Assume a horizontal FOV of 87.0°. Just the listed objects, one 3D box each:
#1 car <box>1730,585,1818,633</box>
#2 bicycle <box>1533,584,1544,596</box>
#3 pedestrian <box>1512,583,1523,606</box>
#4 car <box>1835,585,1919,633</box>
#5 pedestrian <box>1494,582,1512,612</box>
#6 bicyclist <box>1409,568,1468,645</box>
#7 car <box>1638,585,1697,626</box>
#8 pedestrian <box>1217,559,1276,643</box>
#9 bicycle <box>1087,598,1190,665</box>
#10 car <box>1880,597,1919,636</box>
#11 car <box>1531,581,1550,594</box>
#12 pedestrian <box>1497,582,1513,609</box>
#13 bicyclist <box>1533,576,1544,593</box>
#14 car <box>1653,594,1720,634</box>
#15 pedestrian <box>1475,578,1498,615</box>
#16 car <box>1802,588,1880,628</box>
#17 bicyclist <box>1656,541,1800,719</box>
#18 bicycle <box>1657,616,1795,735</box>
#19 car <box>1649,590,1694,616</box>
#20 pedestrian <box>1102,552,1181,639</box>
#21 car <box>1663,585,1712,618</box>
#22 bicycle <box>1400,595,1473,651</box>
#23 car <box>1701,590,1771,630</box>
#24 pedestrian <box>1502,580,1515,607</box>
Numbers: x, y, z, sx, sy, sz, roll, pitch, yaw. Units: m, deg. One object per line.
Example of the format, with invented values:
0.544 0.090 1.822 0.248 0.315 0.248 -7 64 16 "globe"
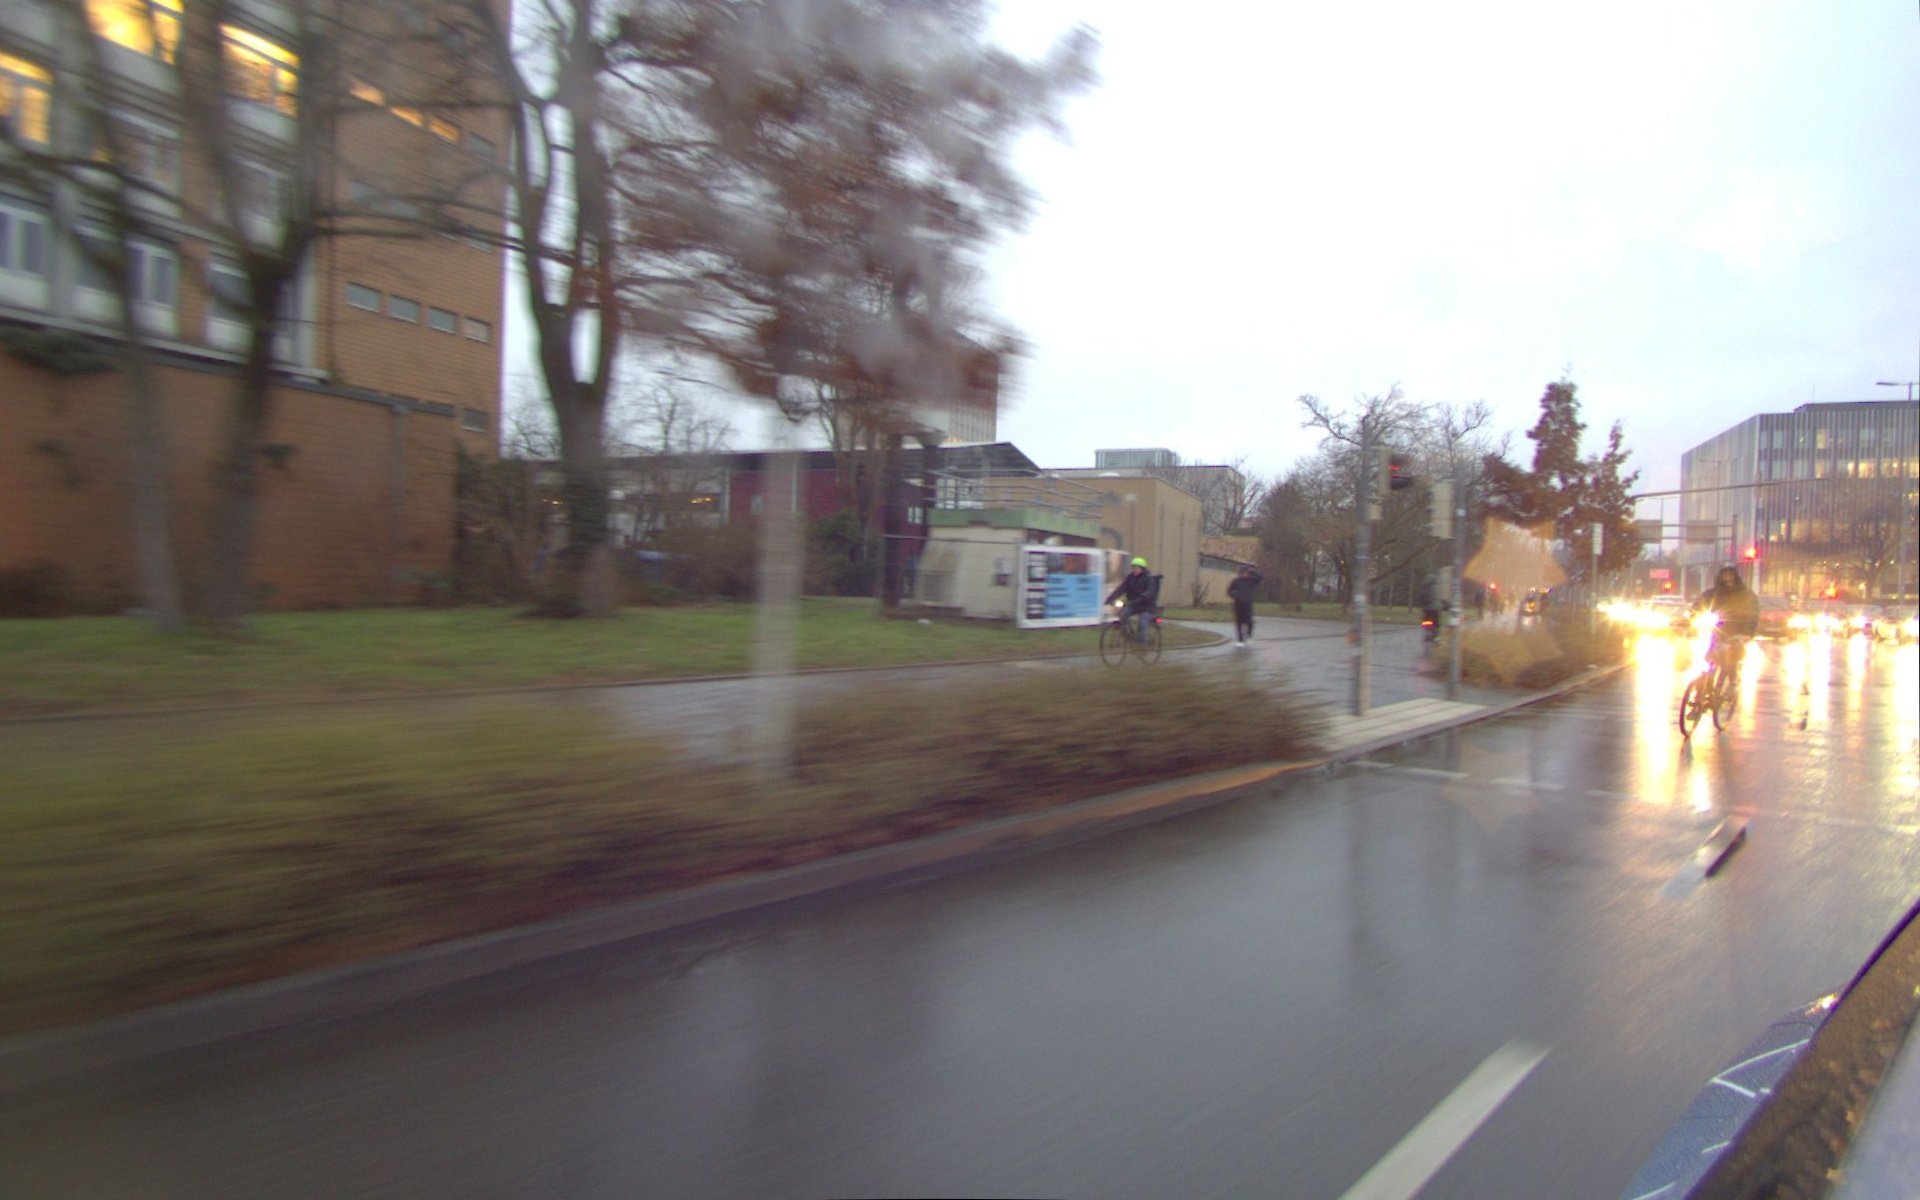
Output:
33.832 0.318 42.203 1.983 1.771 4.896 3 2 29 "car"
51.868 -0.878 90.759 0.788 1.028 2.873 2 1 29 "bicycle"
50.611 -0.514 91.870 0.759 2.038 0.765 2 2 28 "pedestrian"
41.468 0.362 45.604 1.985 1.769 4.425 10 6 28 "car"
34.440 -0.179 64.191 0.925 1.848 0.825 3 2 29 "pedestrian"
10.919 0.138 23.096 0.804 1.637 1.069 6 4 43 "bicyclist"
34.641 0.239 49.641 1.984 1.860 3.956 2 2 31 "car"
6.109 0.015 21.574 0.906 1.708 0.917 4 1 32 "pedestrian"
2.867 0.468 16.131 0.561 0.958 2.063 3 3 43 "bicycle"
37.468 0.661 39.018 1.915 1.393 4.453 3 2 29 "car"
82.941 -1.791 144.565 2.124 1.838 3.960 3 2 29 "car"
38.270 -0.353 71.050 0.925 1.848 0.825 3 2 29 "pedestrian"
51.915 -1.397 90.813 0.761 1.508 0.984 2 2 30 "bicyclist"
30.978 0.553 43.280 1.759 1.505 4.425 3 2 29 "car"
26.770 -0.176 51.466 0.925 1.848 0.825 3 2 29 "pedestrian"
44.401 0.352 51.104 1.983 1.771 4.425 3 2 29 "car"
8.805 0.315 11.608 1.213 1.907 1.027 1 0 -37 "bicyclist"
8.822 0.817 11.631 1.869 1.238 0.794 0 0 -37 "bicycle"
48.893 0.198 69.628 1.983 1.586 4.714 4 3 29 "car"
2.887 -0.086 16.087 0.834 1.333 0.875 0 2 -43 "pedestrian"
46.012 0.050 64.071 1.983 1.947 4.224 2 2 29 "car"
10.866 0.510 23.052 0.804 1.155 2.179 6 4 43 "bicycle"
37.463 0.435 48.973 1.983 1.771 4.425 3 2 29 "car"
41.780 -0.522 77.091 0.759 2.038 0.902 2 2 28 "pedestrian"
